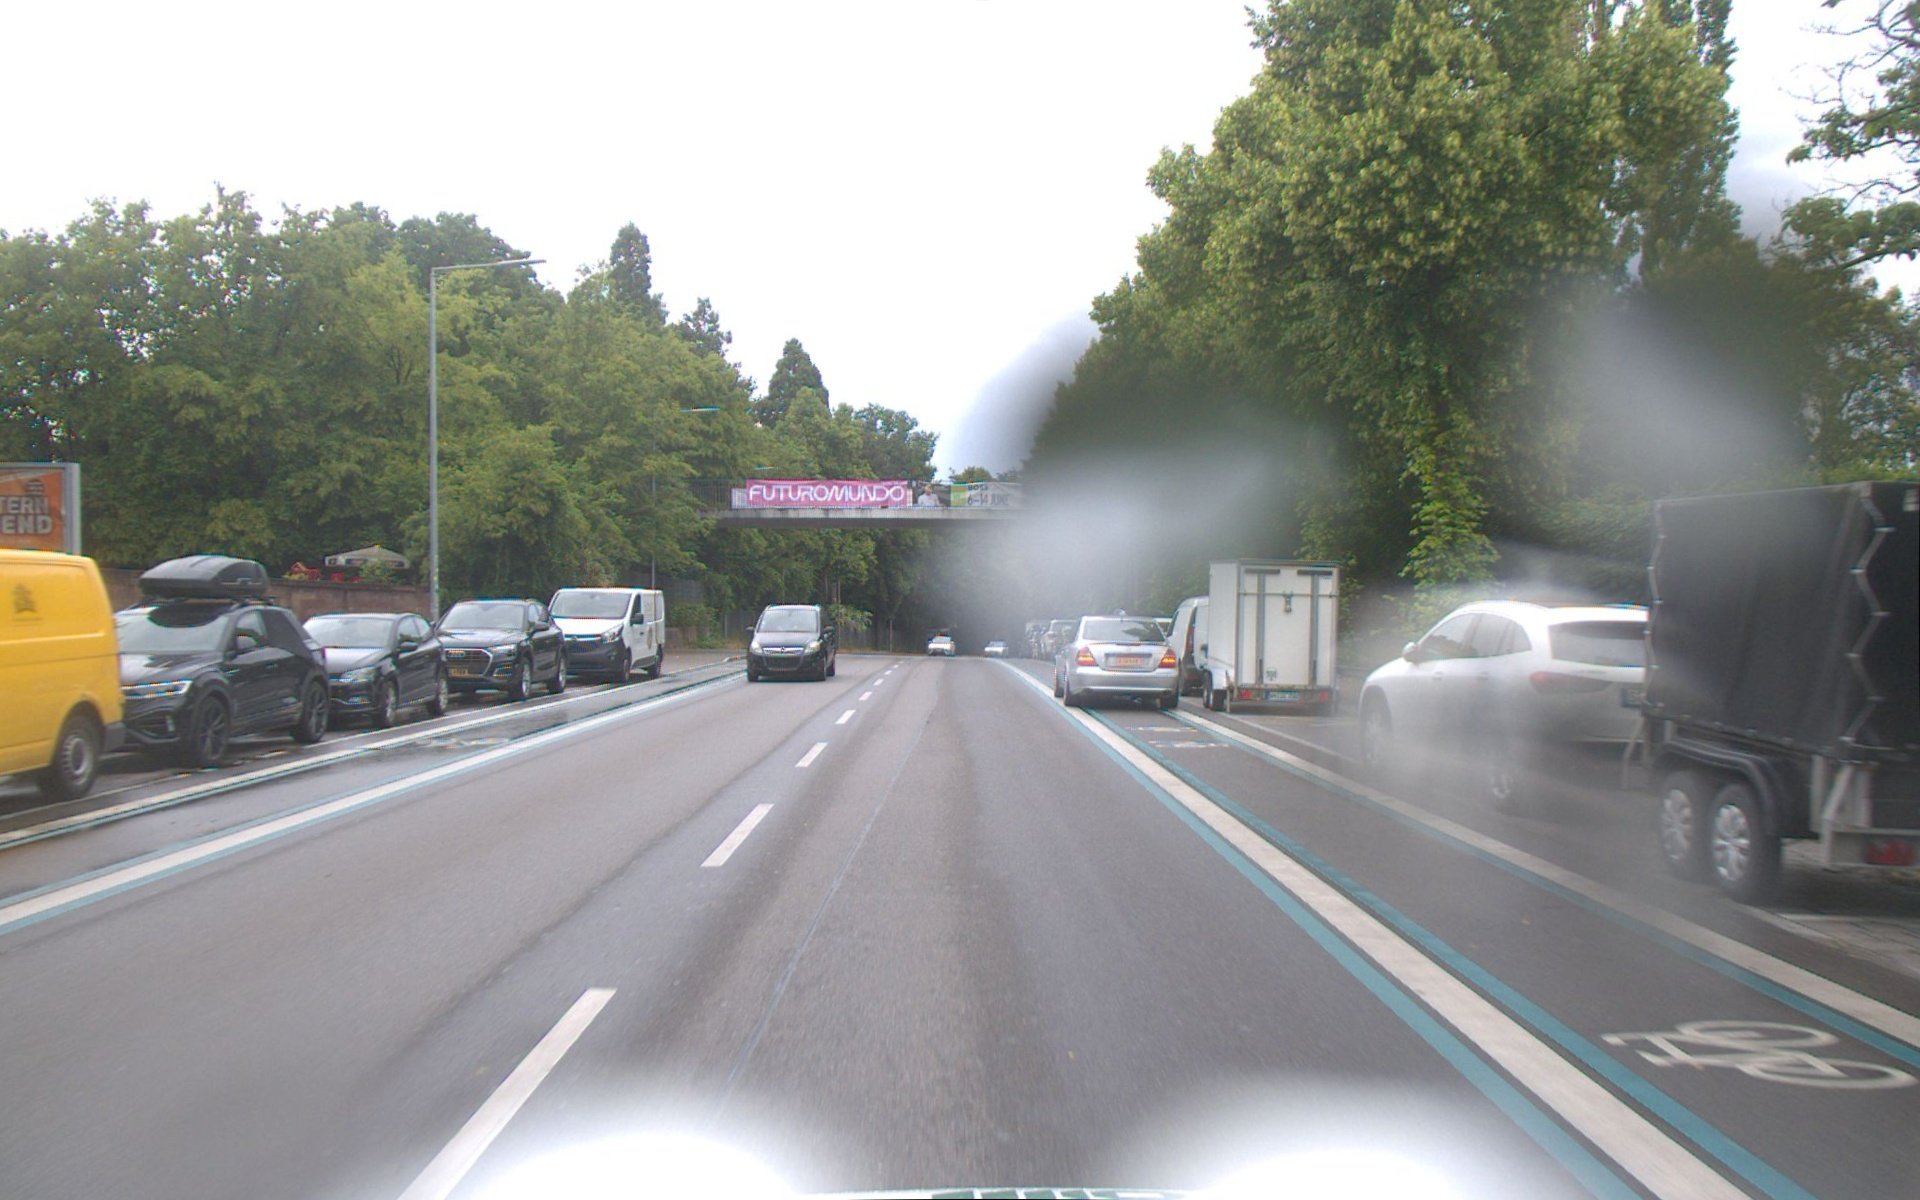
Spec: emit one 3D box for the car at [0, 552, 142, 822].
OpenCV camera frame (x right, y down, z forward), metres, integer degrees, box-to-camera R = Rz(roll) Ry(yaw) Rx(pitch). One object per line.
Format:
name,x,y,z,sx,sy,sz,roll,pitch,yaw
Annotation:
car,-7.884,0.634,11.565,1.953,1.946,4.844,0,0,-1

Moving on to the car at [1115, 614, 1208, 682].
car,4.673,1.078,38.829,1.626,1.451,4.618,1,0,0

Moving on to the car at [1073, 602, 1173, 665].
car,4.343,0.862,44.697,1.954,1.587,4.639,1,0,-3

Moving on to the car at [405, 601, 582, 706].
car,-7.907,0.844,28.480,1.787,1.644,4.662,0,0,-1

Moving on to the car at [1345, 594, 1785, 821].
car,4.866,0.786,14.065,1.722,1.613,4.407,1,0,-7

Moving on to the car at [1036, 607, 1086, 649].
car,4.139,1.196,68.563,1.679,1.647,4.259,1,-2,-2

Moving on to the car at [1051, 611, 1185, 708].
car,2.510,0.906,27.238,1.686,1.422,4.590,1,0,-1

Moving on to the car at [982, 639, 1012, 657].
car,3.442,4.476,153.962,1.758,1.604,4.104,0,-2,17

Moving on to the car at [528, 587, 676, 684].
car,-7.704,0.719,36.131,1.937,1.948,5.228,0,0,2

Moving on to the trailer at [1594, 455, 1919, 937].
trailer,5.047,0.483,9.714,1.318,2.309,3.564,1,0,1

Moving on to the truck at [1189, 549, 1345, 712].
truck,4.807,0.464,26.409,1.684,2.374,3.999,1,0,-1

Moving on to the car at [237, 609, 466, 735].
car,-7.929,0.874,21.940,1.575,1.471,4.037,0,0,-1

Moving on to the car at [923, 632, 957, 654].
car,-1.500,3.259,125.798,1.930,1.579,3.873,1,-1,8

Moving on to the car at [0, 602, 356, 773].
car,-7.882,0.801,17.145,1.674,1.530,4.150,0,0,1

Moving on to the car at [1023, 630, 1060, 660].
car,4.110,2.298,83.935,1.738,1.372,4.466,1,-3,1

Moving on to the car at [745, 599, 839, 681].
car,-3.671,0.838,36.643,1.676,1.646,4.149,-1,0,-1

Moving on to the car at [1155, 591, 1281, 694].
car,4.885,0.782,31.895,1.687,1.822,4.344,1,0,-1

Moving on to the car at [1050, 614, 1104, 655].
car,4.422,1.343,62.978,1.639,1.418,4.448,1,-3,-1

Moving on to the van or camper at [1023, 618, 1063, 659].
van or camper,5.828,2.755,115.443,2.267,2.711,6.385,1,-2,7
